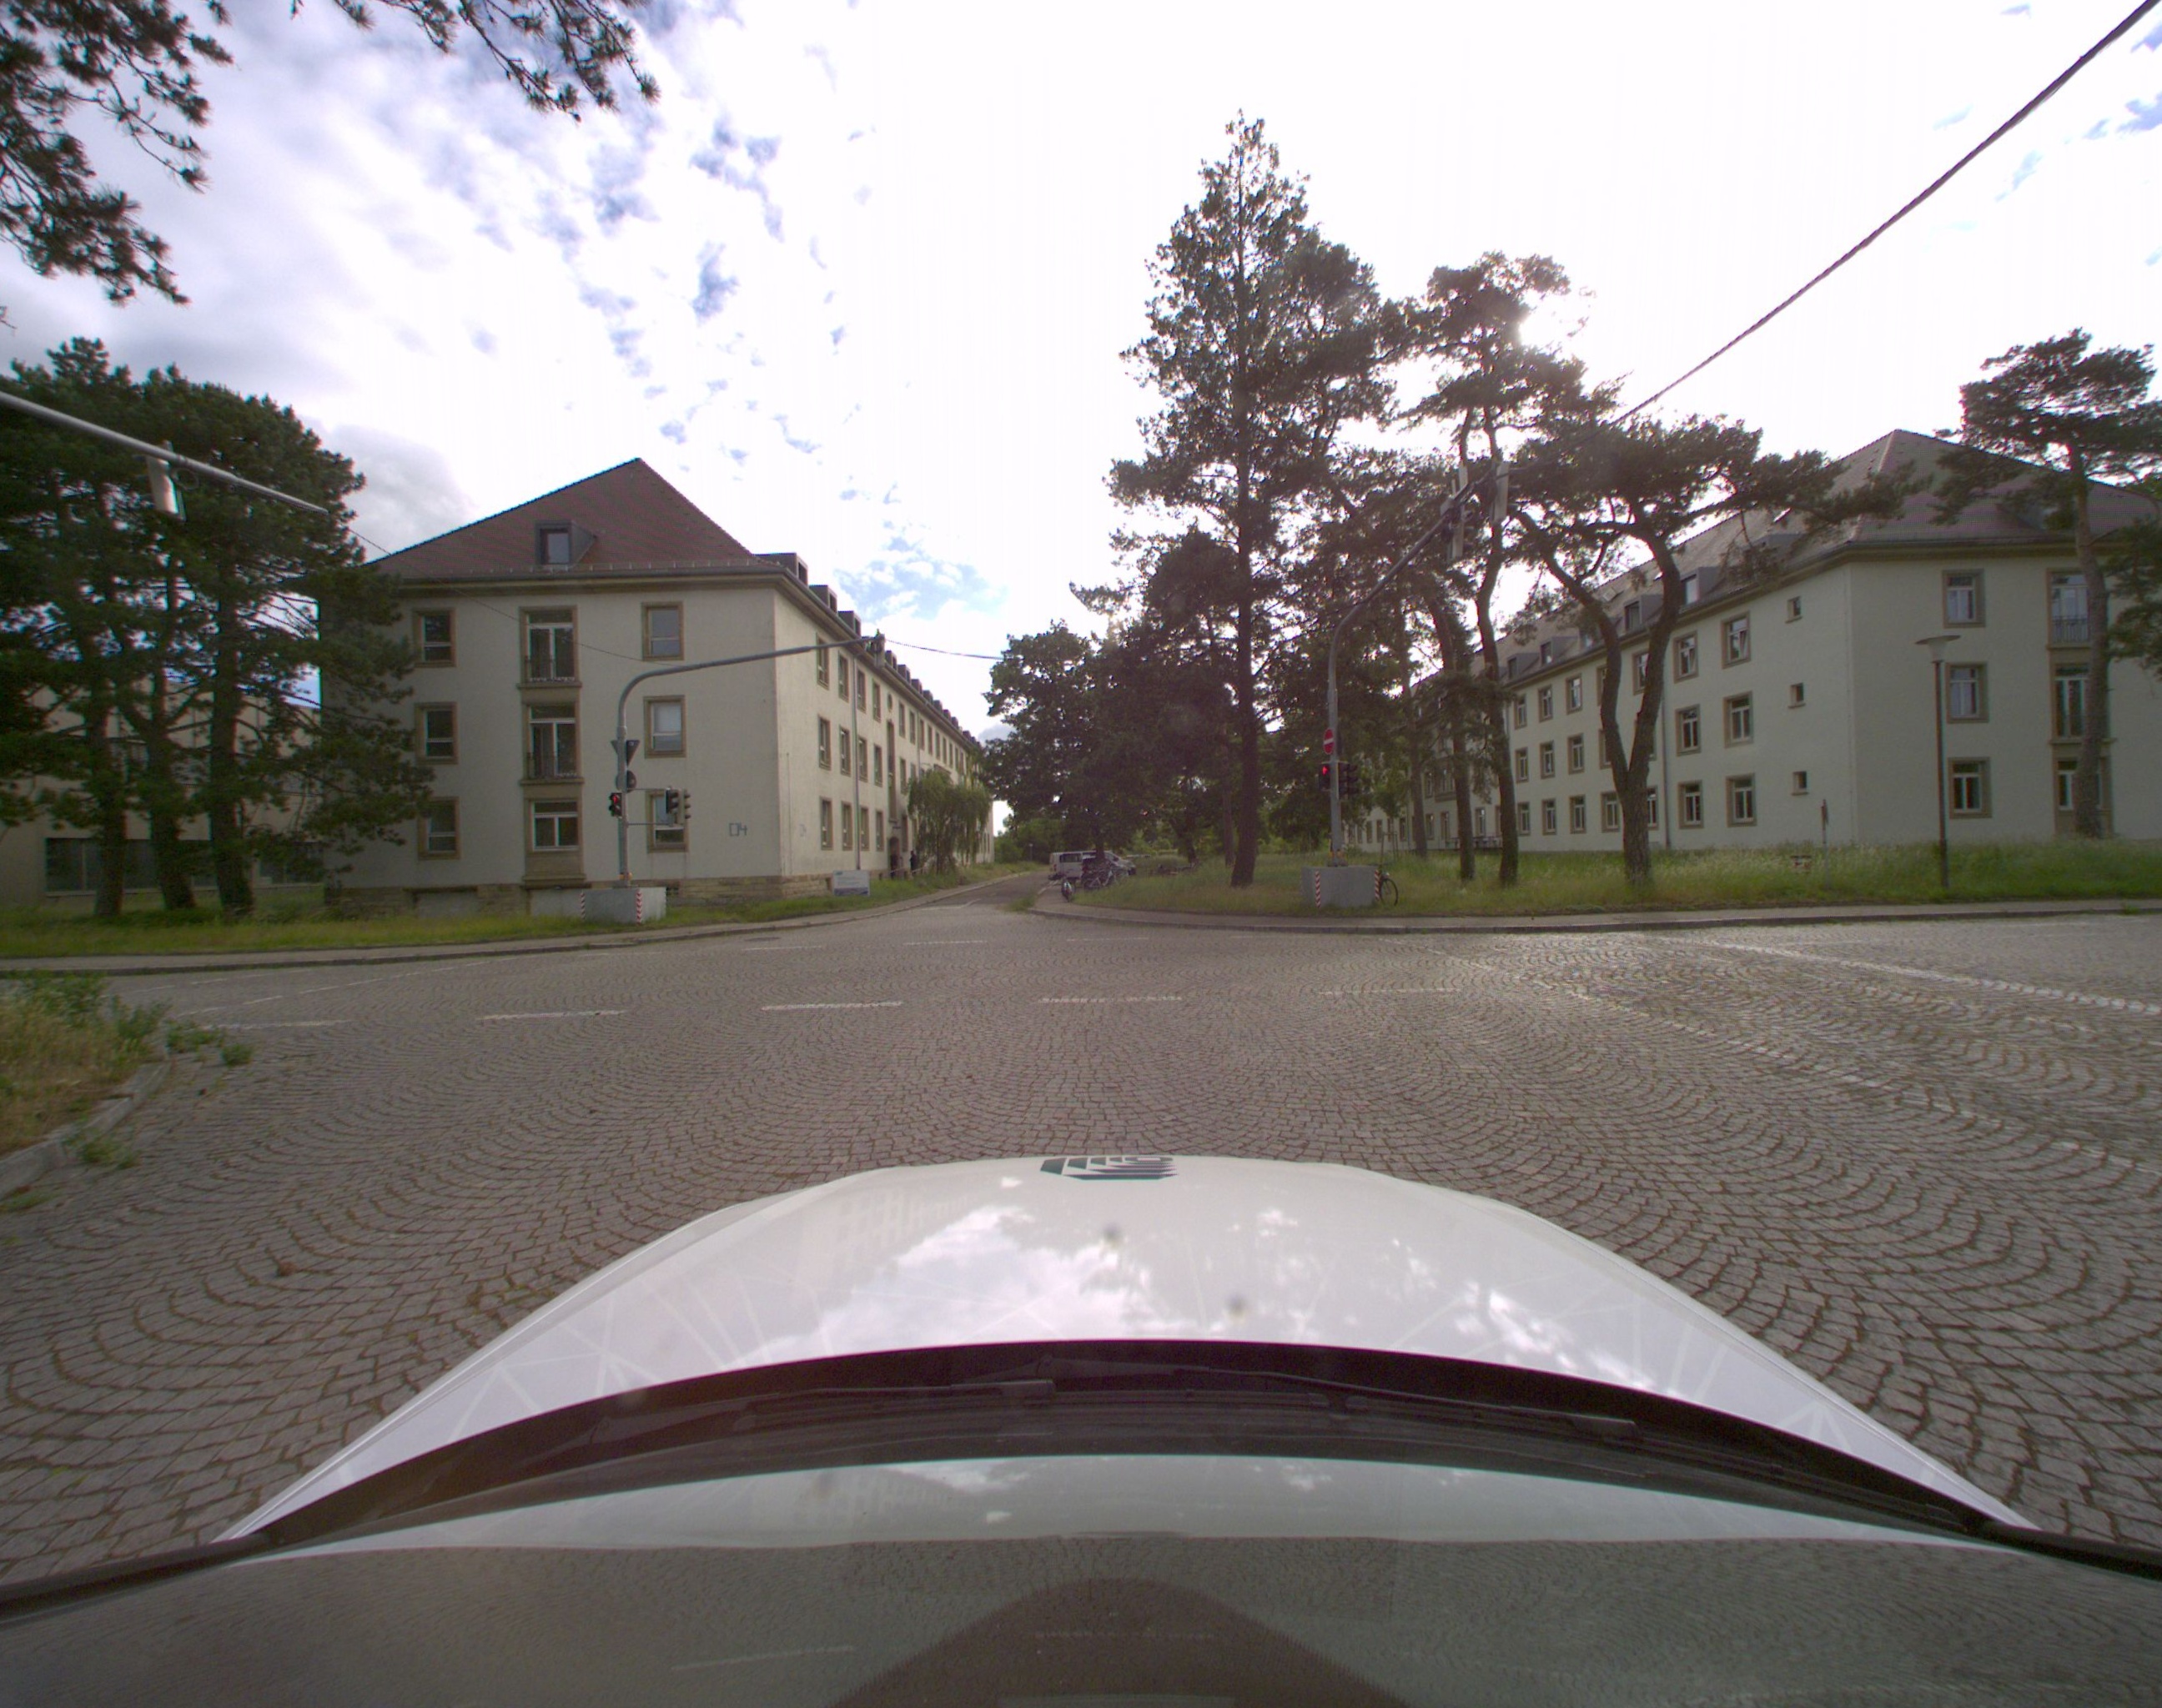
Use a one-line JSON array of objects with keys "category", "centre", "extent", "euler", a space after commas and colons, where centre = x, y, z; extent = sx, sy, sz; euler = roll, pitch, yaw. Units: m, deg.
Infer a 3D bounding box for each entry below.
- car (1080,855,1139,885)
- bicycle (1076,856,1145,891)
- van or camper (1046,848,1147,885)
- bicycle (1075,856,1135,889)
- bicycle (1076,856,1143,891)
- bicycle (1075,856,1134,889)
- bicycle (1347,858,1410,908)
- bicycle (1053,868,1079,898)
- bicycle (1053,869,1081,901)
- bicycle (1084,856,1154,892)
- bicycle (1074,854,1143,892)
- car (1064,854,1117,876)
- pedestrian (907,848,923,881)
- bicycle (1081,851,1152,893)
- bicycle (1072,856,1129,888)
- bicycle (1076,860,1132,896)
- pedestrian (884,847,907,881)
[{"category": "car", "centre": [1.559, 0.872, 45.774], "extent": [3.215, 1.621, 1.937], "euler": [0, -1, -1]}, {"category": "bicycle", "centre": [1.219, 0.817, 34.112], "extent": [2.794, 1.372, 0.950], "euler": [-2, 0, -1]}, {"category": "van or camper", "centre": [0.925, 0.737, 49.286], "extent": [5.746, 1.957, 2.228], "euler": [-2, 0, -13]}, {"category": "bicycle", "centre": [1.055, 0.810, 35.968], "extent": [2.560, 1.372, 0.950], "euler": [-2, 0, -1]}, {"category": "bicycle", "centre": [1.195, 0.826, 35.005], "extent": [2.794, 1.372, 0.950], "euler": [-2, 0, -1]}, {"category": "bicycle", "centre": [1.047, 0.819, 36.808], "extent": [2.560, 1.372, 0.950], "euler": [-2, 0, -1]}, {"category": "bicycle", "centre": [6.941, 0.650, 19.097], "extent": [0.643, 1.062, 1.832], "euler": [-5, 0, -3]}, {"category": "bicycle", "centre": [-0.521, 1.048, 29.870], "extent": [0.724, 0.996, 1.981], "euler": [-2, 0, 5]}, {"category": "bicycle", "centre": [-0.460, 1.024, 27.778], "extent": [0.898, 0.996, 1.978], "euler": [-2, 0, 0]}, {"category": "bicycle", "centre": [1.541, 0.808, 33.579], "extent": [2.794, 1.372, 0.950], "euler": [-2, 0, -1]}, {"category": "bicycle", "centre": [1.054, 0.726, 31.778], "extent": [2.611, 1.367, 0.874], "euler": [-2, 0, -1]}, {"category": "car", "centre": [0.685, 0.828, 63.107], "extent": [3.977, 1.600, 1.702], "euler": [-2, 0, -3]}, {"category": "pedestrian", "centre": [-9.610, 0.605, 47.198], "extent": [0.865, 1.932, 0.834], "euler": [0, -1, -11]}, {"category": "bicycle", "centre": [1.404, 0.704, 32.649], "extent": [2.794, 1.583, 0.950], "euler": [-2, 0, -1]}, {"category": "bicycle", "centre": [0.889, 0.829, 37.645], "extent": [2.560, 1.372, 0.950], "euler": [-2, 0, -1]}, {"category": "bicycle", "centre": [0.865, 0.897, 31.164], "extent": [2.106, 1.306, 0.874], "euler": [-2, 0, -1]}, {"category": "pedestrian", "centre": [-10.465, 0.549, 45.988], "extent": [1.195, 1.870, 1.544], "euler": [0, -1, -11]}]
